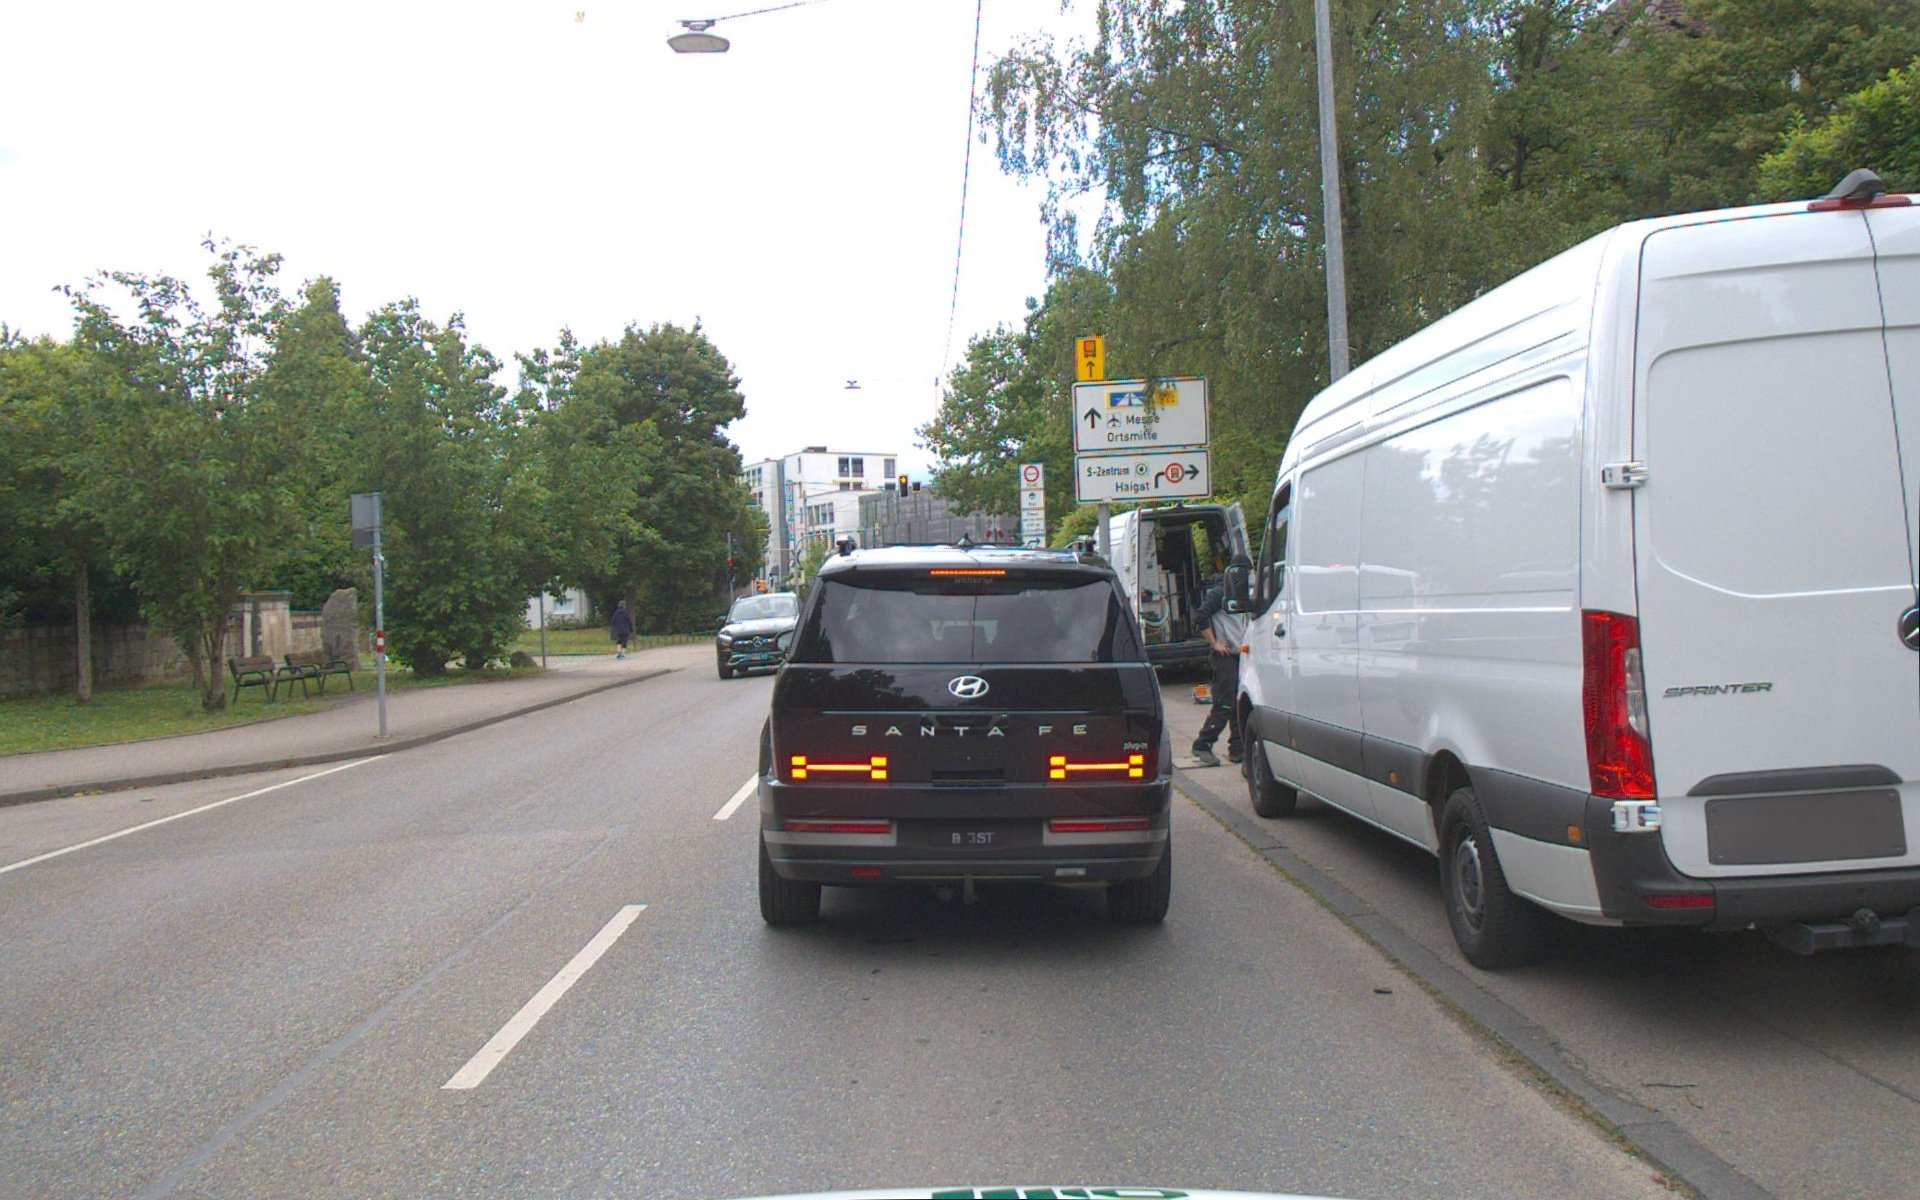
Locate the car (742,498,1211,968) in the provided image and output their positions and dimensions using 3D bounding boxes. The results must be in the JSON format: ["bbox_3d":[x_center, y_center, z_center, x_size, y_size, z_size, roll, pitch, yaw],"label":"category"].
[{"bbox_3d":[0.039,0.516,8.540,1.851,1.851,3.999,0,0,-1],"label":"car"}]

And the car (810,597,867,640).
[{"bbox_3d":[-4.608,0.679,63.194,1.822,1.478,4.110,-4,0,-1],"label":"car"}]

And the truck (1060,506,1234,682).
[{"bbox_3d":[3.038,-0.085,28.067,1.904,2.606,5.212,-3,0,-4],"label":"truck"}]

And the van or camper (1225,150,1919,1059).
[{"bbox_3d":[2.891,-0.016,8.180,1.953,2.665,6.540,-2,0,-1],"label":"van or camper"}]

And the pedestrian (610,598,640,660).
[{"bbox_3d":[-9.626,0.831,47.549,0.724,1.745,0.791,-2,0,-8],"label":"pedestrian"}]

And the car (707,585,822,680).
[{"bbox_3d":[-3.959,0.620,34.113,1.822,1.686,4.305,-4,0,-1],"label":"car"}]

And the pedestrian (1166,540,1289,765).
[{"bbox_3d":[2.245,0.429,13.967,0.852,1.828,0.759,-2,0,-2],"label":"pedestrian"}]

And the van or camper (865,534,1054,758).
[{"bbox_3d":[-0.033,0.423,17.484,1.719,2.049,3.999,-2,0,-1],"label":"van or camper"}]
